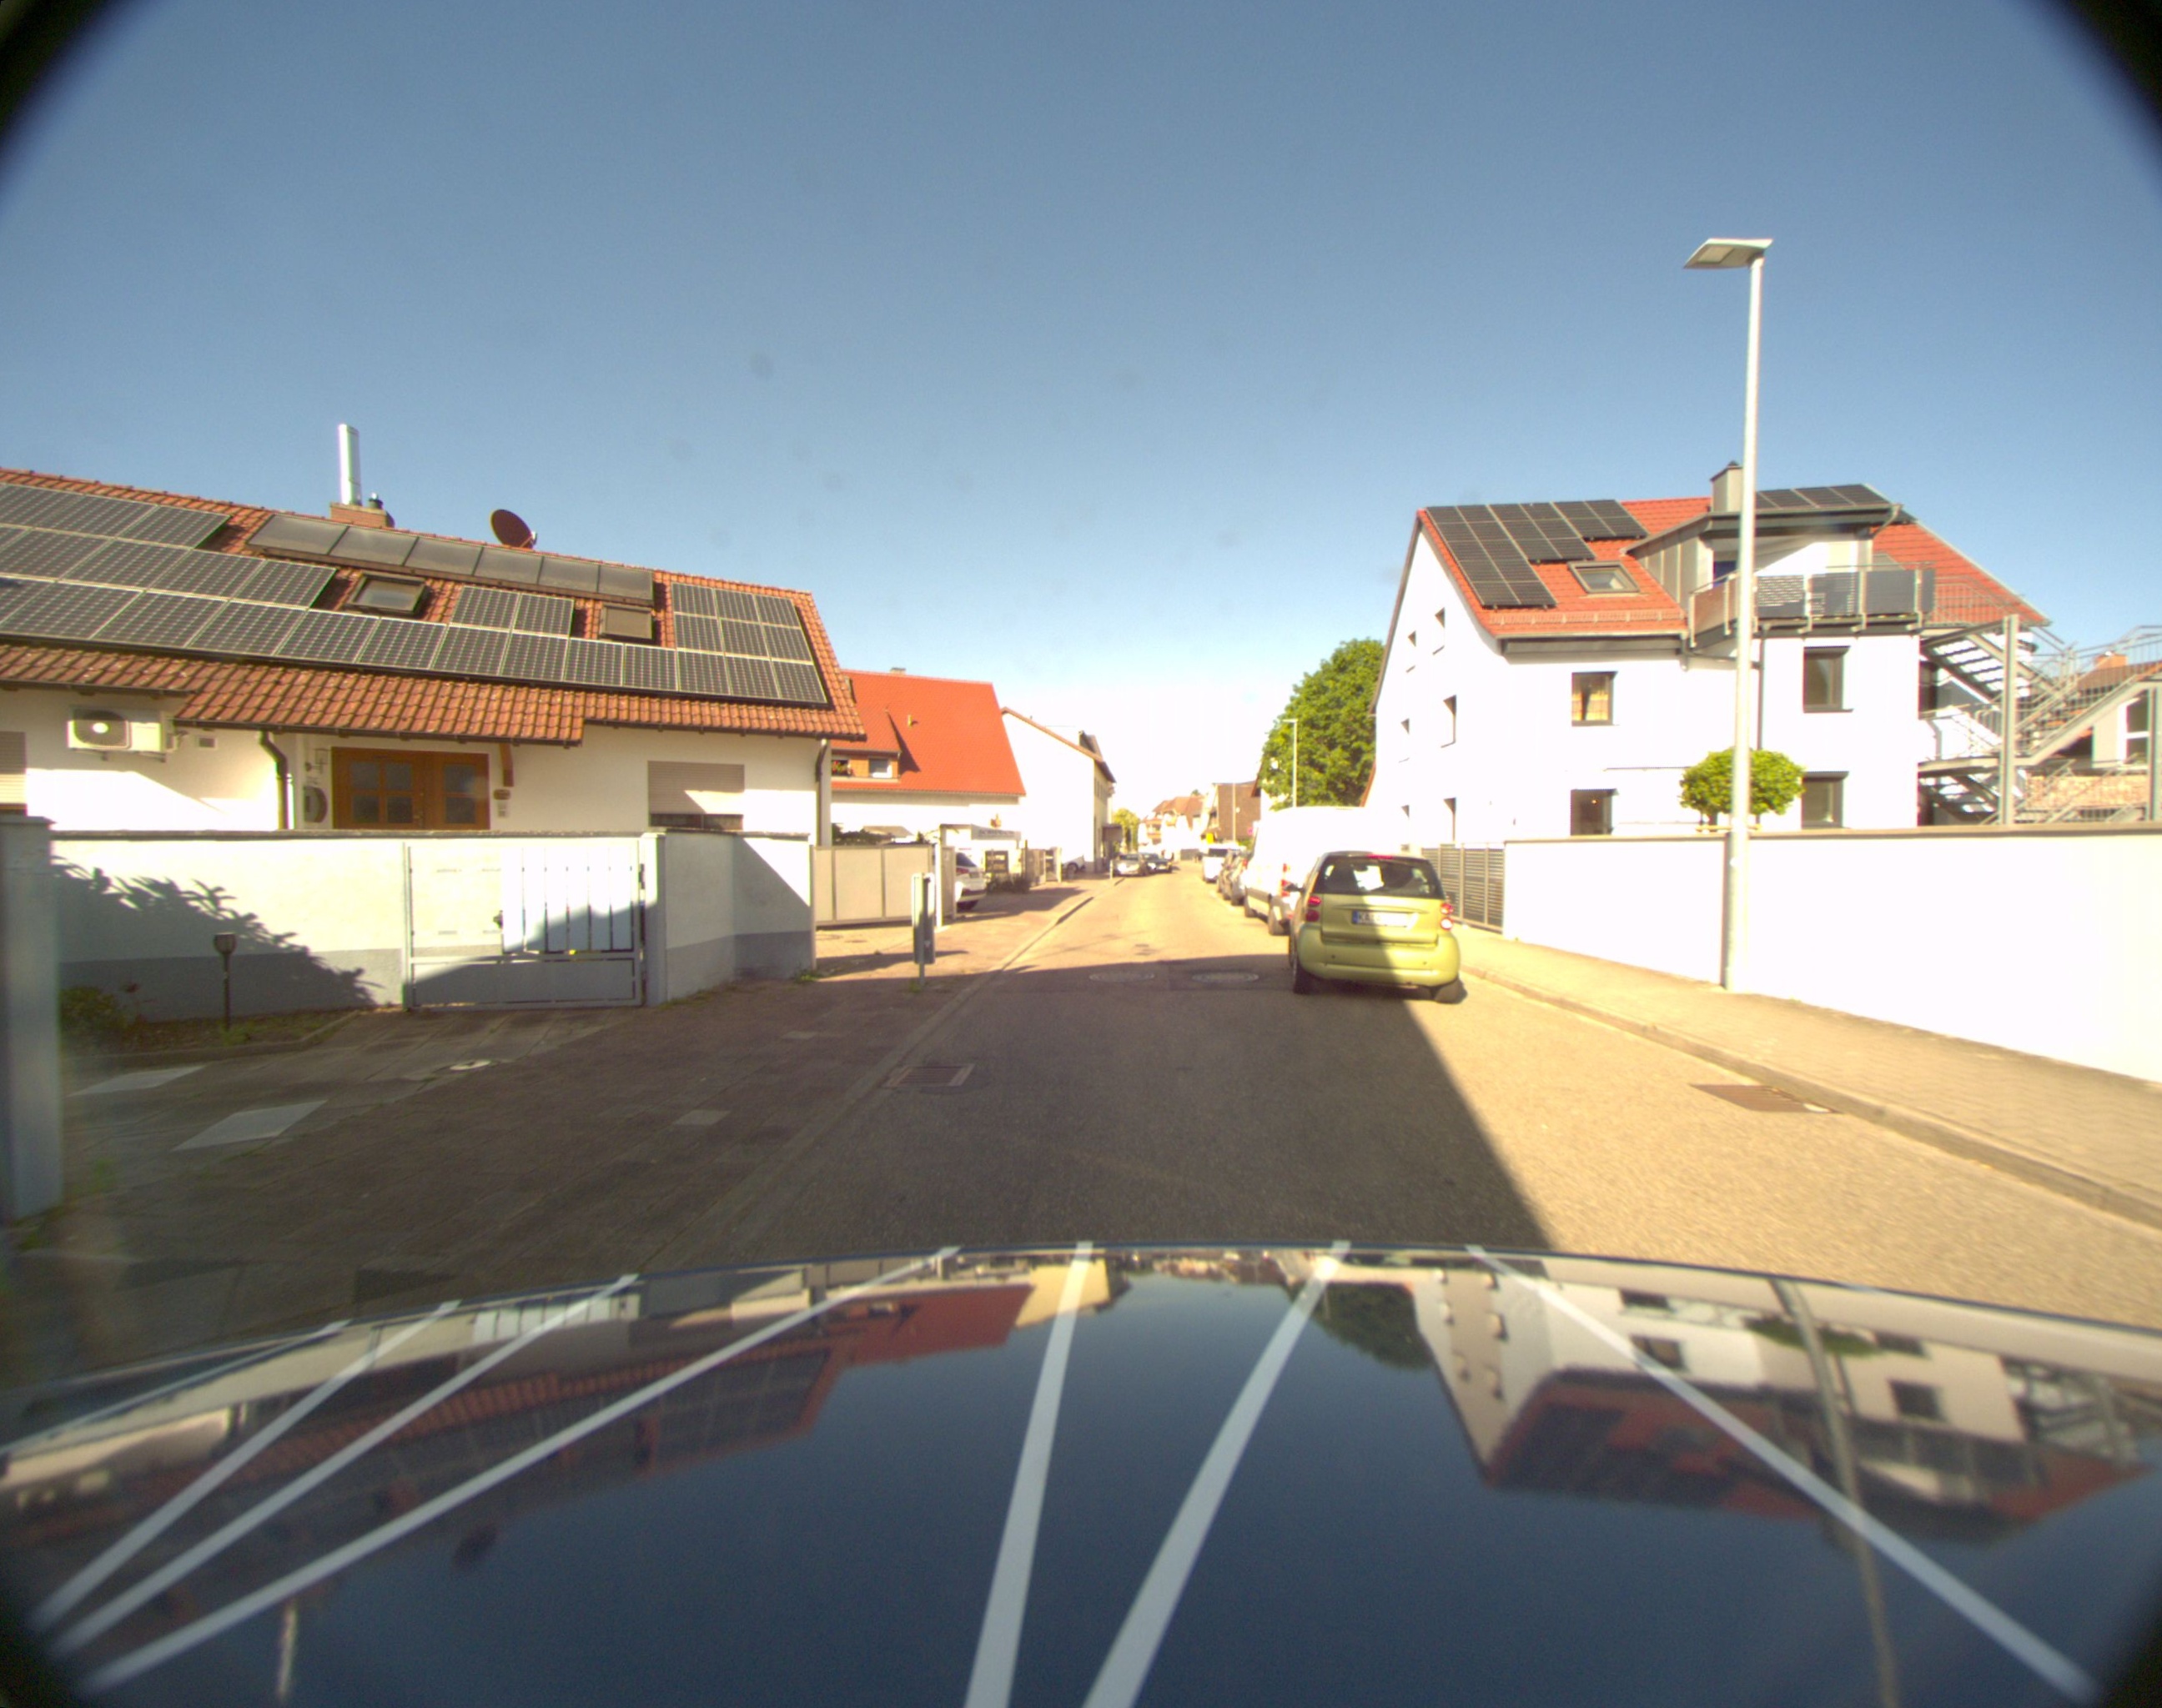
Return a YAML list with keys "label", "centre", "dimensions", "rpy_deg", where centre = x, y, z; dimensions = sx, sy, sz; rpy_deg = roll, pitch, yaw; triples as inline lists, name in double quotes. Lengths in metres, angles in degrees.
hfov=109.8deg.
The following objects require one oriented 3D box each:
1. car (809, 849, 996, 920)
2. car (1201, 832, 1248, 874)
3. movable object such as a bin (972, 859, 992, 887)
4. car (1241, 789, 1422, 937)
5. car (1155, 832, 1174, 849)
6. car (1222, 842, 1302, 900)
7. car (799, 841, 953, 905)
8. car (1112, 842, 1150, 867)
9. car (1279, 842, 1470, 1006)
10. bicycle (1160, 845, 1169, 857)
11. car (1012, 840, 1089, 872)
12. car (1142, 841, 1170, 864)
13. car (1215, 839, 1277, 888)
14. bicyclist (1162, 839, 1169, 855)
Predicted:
- label: "car"
  centre: [-4.186, 0.663, 18.025]
  dimensions: [3.917, 1.484, 1.849]
  rpy_deg: [1, 2, 15]
- label: "car"
  centre: [6.952, -0.096, 37.282]
  dimensions: [1.906, 1.906, 5.071]
  rpy_deg: [0, 1, 6]
- label: "movable object such as a bin"
  centre: [-3.359, 0.643, 25.721]
  dimensions: [0.517, 0.918, 0.422]
  rpy_deg: [-3, 2, -23]
- label: "car"
  centre: [4.669, 0.109, 15.317]
  dimensions: [2.201, 2.376, 6.066]
  rpy_deg: [1, 1, 6]
- label: "car"
  centre: [12.067, -1.972, 110.080]
  dimensions: [2.258, 2.456, 5.515]
  rpy_deg: [0, 1, 2]
- label: "car"
  centre: [5.139, 0.406, 22.079]
  dimensions: [1.715, 1.496, 4.236]
  rpy_deg: [1, 1, 6]
- label: "car"
  centre: [-5.803, 0.480, 21.437]
  dimensions: [4.053, 1.679, 1.908]
  rpy_deg: [0, 1, -21]
- label: "car"
  centre: [3.150, -0.022, 46.690]
  dimensions: [1.814, 1.467, 4.662]
  rpy_deg: [0, 1, 10]
- label: "car"
  centre: [3.217, 0.646, 8.867]
  dimensions: [1.576, 1.538, 2.968]
  rpy_deg: [1, 1, 12]
- label: "bicycle"
  centre: [8.739, -0.329, 79.474]
  dimensions: [0.639, 1.175, 2.021]
  rpy_deg: [-6, 1, 3]
- label: "car"
  centre: [-1.933, 0.094, 48.643]
  dimensions: [4.775, 1.876, 1.907]
  rpy_deg: [2, 1, -3]
- label: "car"
  centre: [5.167, -0.149, 52.654]
  dimensions: [1.812, 1.467, 4.845]
  rpy_deg: [-2, 1, 6]
- label: "car"
  centre: [5.693, 0.268, 26.639]
  dimensions: [1.718, 1.589, 3.926]
  rpy_deg: [0, 1, 6]
- label: "bicyclist"
  centre: [8.835, -0.709, 79.680]
  dimensions: [0.643, 1.655, 0.605]
  rpy_deg: [0, 1, 3]
